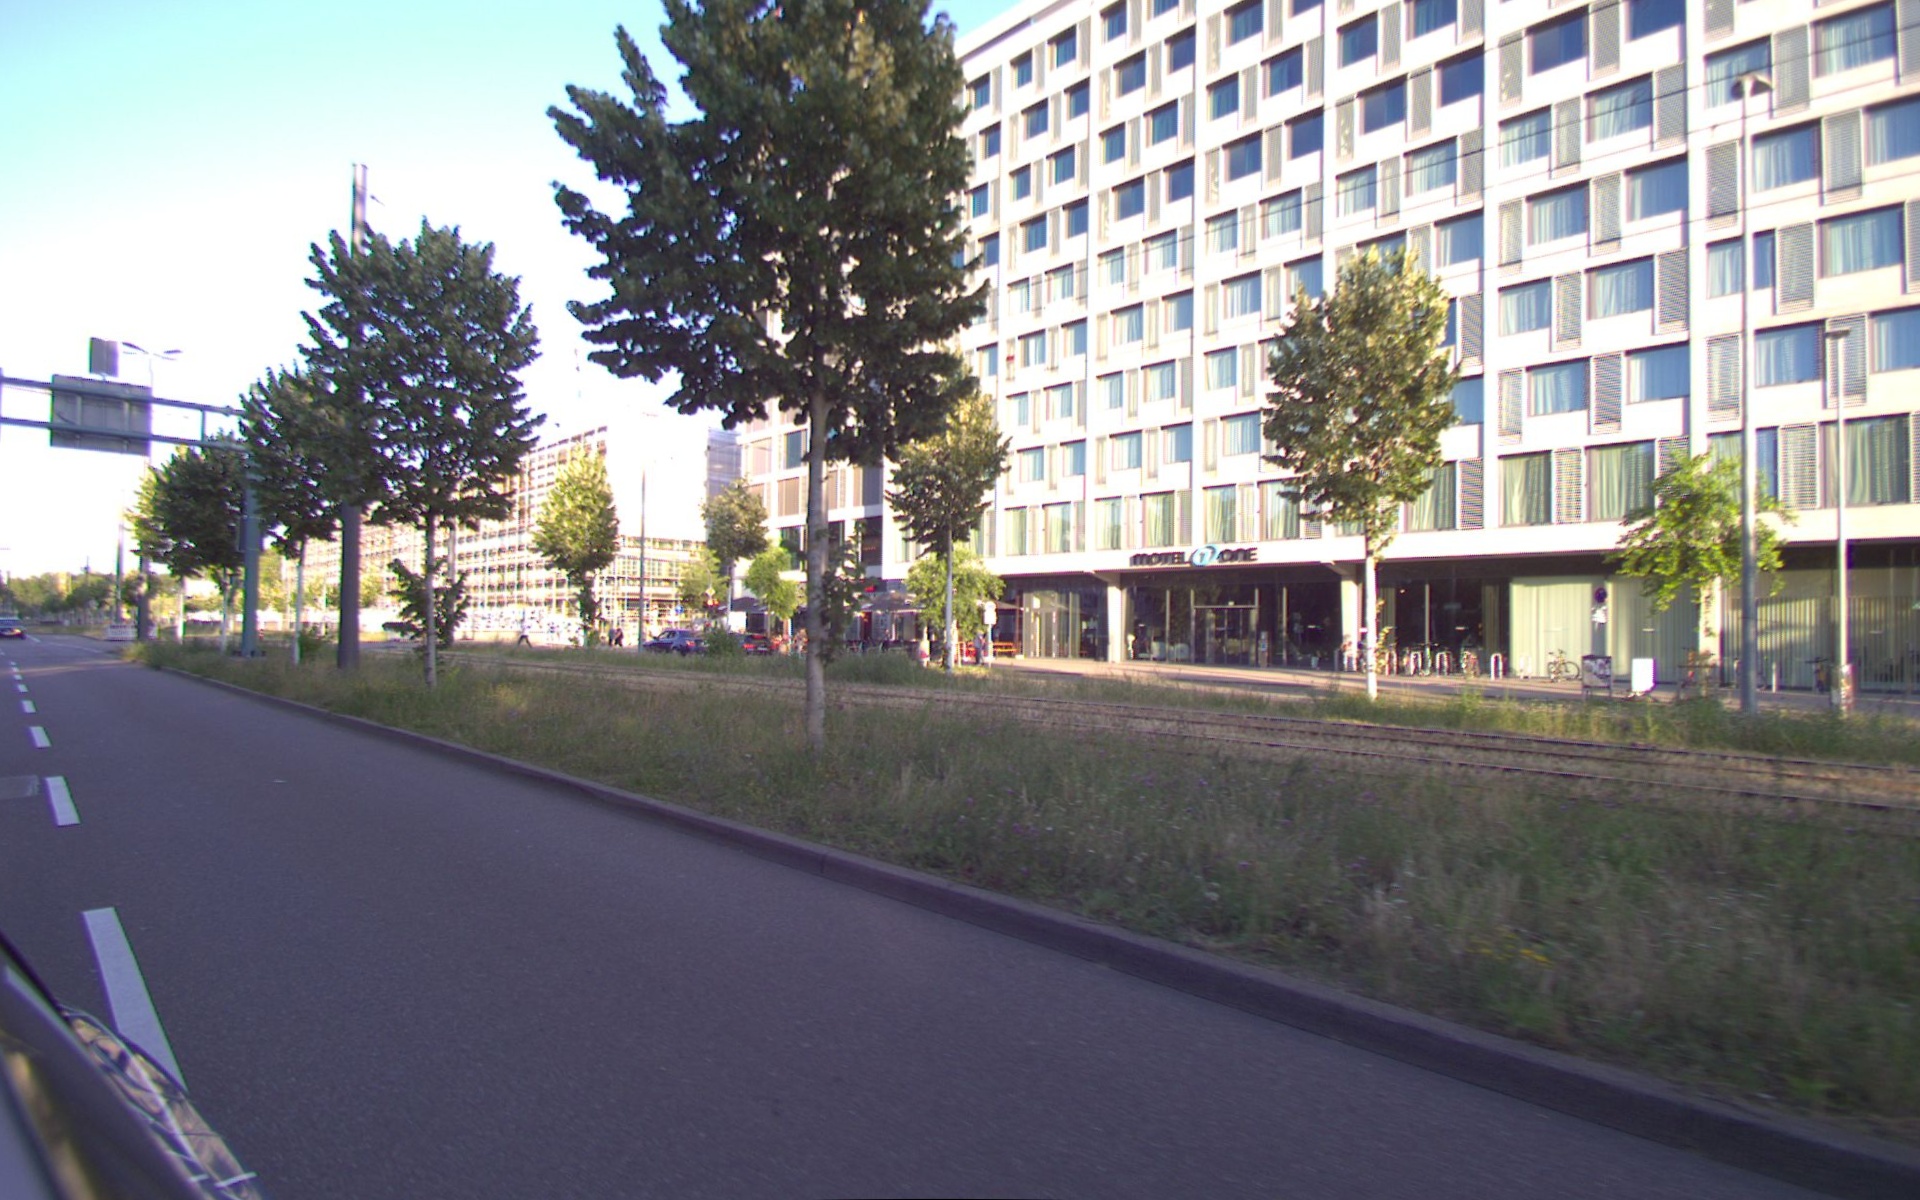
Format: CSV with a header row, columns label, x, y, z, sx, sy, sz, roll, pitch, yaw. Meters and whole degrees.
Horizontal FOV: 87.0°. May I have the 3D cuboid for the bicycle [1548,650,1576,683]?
label,x,y,z,sx,sy,sz,roll,pitch,yaw
bicycle,19.401,2.118,32.599,0.421,1.028,1.768,-1,-3,42

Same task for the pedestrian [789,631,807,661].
label,x,y,z,sx,sy,sz,roll,pitch,yaw
pedestrian,-8.994,2.542,56.199,0.705,1.616,0.674,-1,-1,29

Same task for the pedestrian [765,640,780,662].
label,x,y,z,sx,sy,sz,roll,pitch,yaw
pedestrian,-12.531,3.379,67.503,0.770,1.425,0.599,-1,-3,30

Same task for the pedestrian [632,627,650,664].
label,x,y,z,sx,sy,sz,roll,pitch,yaw
pedestrian,-17.282,2.466,54.894,0.670,1.938,0.709,-1,-1,-43

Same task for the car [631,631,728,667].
label,x,y,z,sx,sy,sz,roll,pitch,yaw
car,-12.349,2.147,44.380,1.991,1.452,4.805,5,-5,-44

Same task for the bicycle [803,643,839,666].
label,x,y,z,sx,sy,sz,roll,pitch,yaw
bicycle,-6.901,2.720,50.294,0.443,1.067,1.888,-2,-1,42

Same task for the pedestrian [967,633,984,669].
label,x,y,z,sx,sy,sz,roll,pitch,yaw
pedestrian,0.701,2.286,45.532,0.491,1.612,0.604,-1,-1,-43

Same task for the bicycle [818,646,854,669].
label,x,y,z,sx,sy,sz,roll,pitch,yaw
bicycle,-6.032,2.786,49.236,0.443,1.067,1.888,-2,-1,42

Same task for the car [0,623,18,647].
label,x,y,z,sx,sy,sz,roll,pitch,yaw
car,-64.515,2.350,68.014,1.678,1.609,4.264,1,-2,-43

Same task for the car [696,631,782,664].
label,x,y,z,sx,sy,sz,roll,pitch,yaw
car,-10.128,2.153,46.297,1.863,1.451,4.226,3,-3,-45

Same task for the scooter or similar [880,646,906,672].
label,x,y,z,sx,sy,sz,roll,pitch,yaw
scooter or similar,-3.015,2.655,45.835,1.168,1.066,0.338,-3,0,-44

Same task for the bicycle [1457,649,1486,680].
label,x,y,z,sx,sy,sz,roll,pitch,yaw
bicycle,17.435,2.181,34.480,0.421,1.028,1.723,-1,-3,42

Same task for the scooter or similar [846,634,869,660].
label,x,y,z,sx,sy,sz,roll,pitch,yaw
scooter or similar,-4.929,2.251,48.694,1.167,1.227,0.338,3,-3,-44

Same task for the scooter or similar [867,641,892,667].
label,x,y,z,sx,sy,sz,roll,pitch,yaw
scooter or similar,-3.716,2.498,46.710,1.167,1.172,0.338,3,-3,-44

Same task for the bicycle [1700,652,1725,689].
label,x,y,z,sx,sy,sz,roll,pitch,yaw
bicycle,21.919,2.050,29.475,0.421,1.028,1.768,-1,-3,42

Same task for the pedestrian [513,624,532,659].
label,x,y,z,sx,sy,sz,roll,pitch,yaw
pedestrian,-23.143,2.173,53.508,0.763,1.850,0.698,-2,-2,45

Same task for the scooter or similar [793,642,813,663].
label,x,y,z,sx,sy,sz,roll,pitch,yaw
scooter or similar,-7.981,2.664,51.338,0.995,1.041,0.291,2,-1,-44

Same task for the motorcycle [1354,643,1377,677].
label,x,y,z,sx,sy,sz,roll,pitch,yaw
motorcycle,14.996,2.189,37.385,0.514,1.180,1.878,-1,-2,30

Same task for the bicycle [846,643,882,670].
label,x,y,z,sx,sy,sz,roll,pitch,yaw
bicycle,-4.534,2.670,47.932,0.443,1.208,1.888,-2,-1,42

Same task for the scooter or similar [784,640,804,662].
label,x,y,z,sx,sy,sz,roll,pitch,yaw
scooter or similar,-8.577,2.636,52.302,0.960,1.093,0.338,-1,2,-44
